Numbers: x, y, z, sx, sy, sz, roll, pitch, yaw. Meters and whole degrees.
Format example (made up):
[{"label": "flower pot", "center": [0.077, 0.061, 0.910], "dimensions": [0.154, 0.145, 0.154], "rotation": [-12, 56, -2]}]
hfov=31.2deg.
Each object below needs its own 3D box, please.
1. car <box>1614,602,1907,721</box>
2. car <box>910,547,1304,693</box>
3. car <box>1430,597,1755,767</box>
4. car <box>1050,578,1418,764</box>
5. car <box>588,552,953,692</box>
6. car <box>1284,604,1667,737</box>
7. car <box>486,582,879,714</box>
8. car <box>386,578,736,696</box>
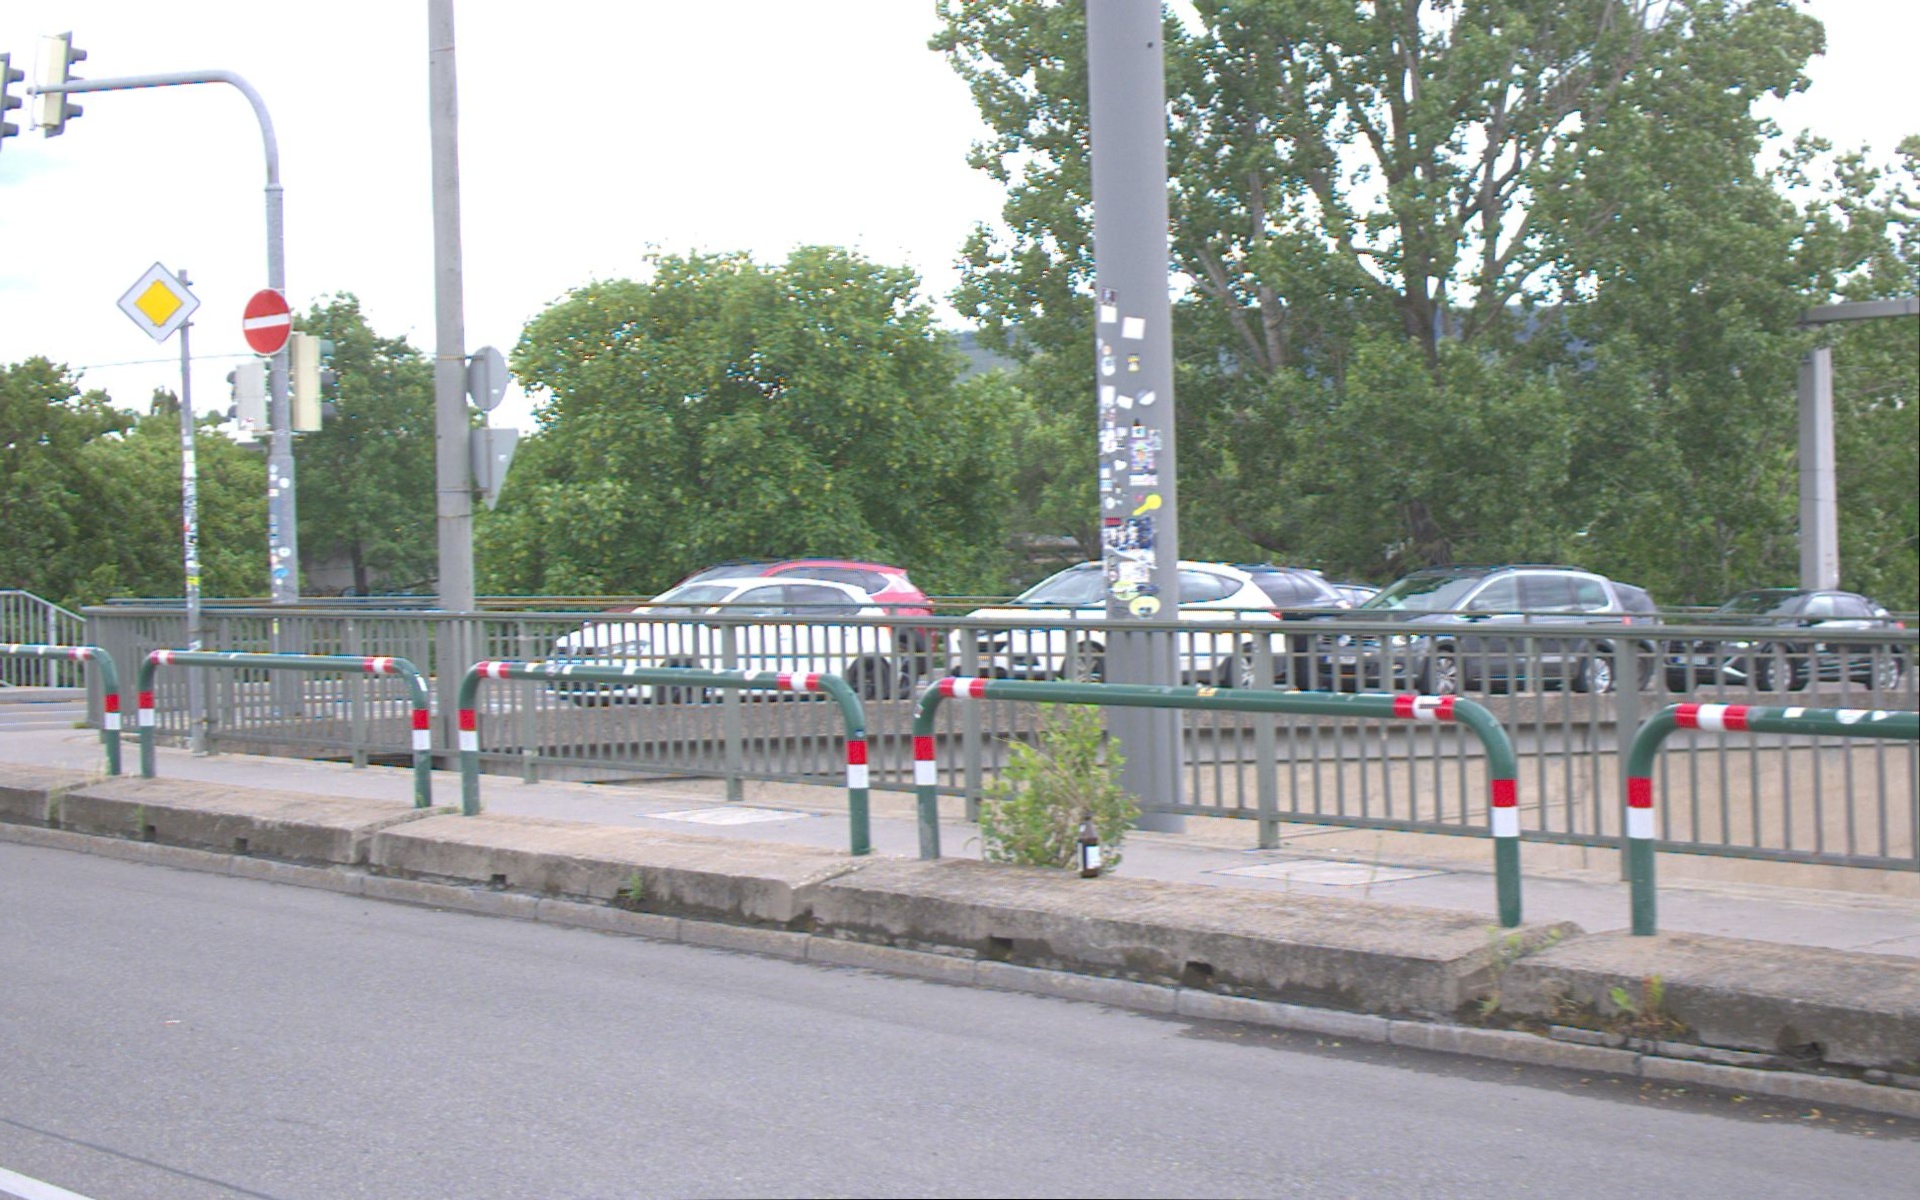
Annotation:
[{"label": "car", "center": [11.327, 0.851, 48.554], "dimensions": [3.988, 1.612, 1.999], "rotation": [0, -1, -39]}, {"label": "car", "center": [1.748, 0.235, 40.045], "dimensions": [4.330, 1.614, 1.999], "rotation": [0, -1, -39]}, {"label": "car", "center": [9.283, 1.140, 50.303], "dimensions": [4.532, 2.006, 2.212], "rotation": [-6, 4, -39]}, {"label": "car", "center": [3.666, 0.877, 45.592], "dimensions": [4.532, 2.006, 2.212], "rotation": [-6, 4, -39]}, {"label": "car", "center": [-2.160, 0.259, 39.798], "dimensions": [3.996, 1.534, 1.695], "rotation": [0, -1, -40]}, {"label": "car", "center": [6.616, 0.870, 43.834], "dimensions": [4.948, 1.614, 1.999], "rotation": [0, -1, -39]}, {"label": "car", "center": [-2.873, 0.495, 35.958], "dimensions": [3.754, 1.309, 1.790], "rotation": [0, -1, -40]}, {"label": "car", "center": [-4.981, 0.459, 43.225], "dimensions": [4.141, 1.416, 1.695], "rotation": [0, -1, -41]}]
